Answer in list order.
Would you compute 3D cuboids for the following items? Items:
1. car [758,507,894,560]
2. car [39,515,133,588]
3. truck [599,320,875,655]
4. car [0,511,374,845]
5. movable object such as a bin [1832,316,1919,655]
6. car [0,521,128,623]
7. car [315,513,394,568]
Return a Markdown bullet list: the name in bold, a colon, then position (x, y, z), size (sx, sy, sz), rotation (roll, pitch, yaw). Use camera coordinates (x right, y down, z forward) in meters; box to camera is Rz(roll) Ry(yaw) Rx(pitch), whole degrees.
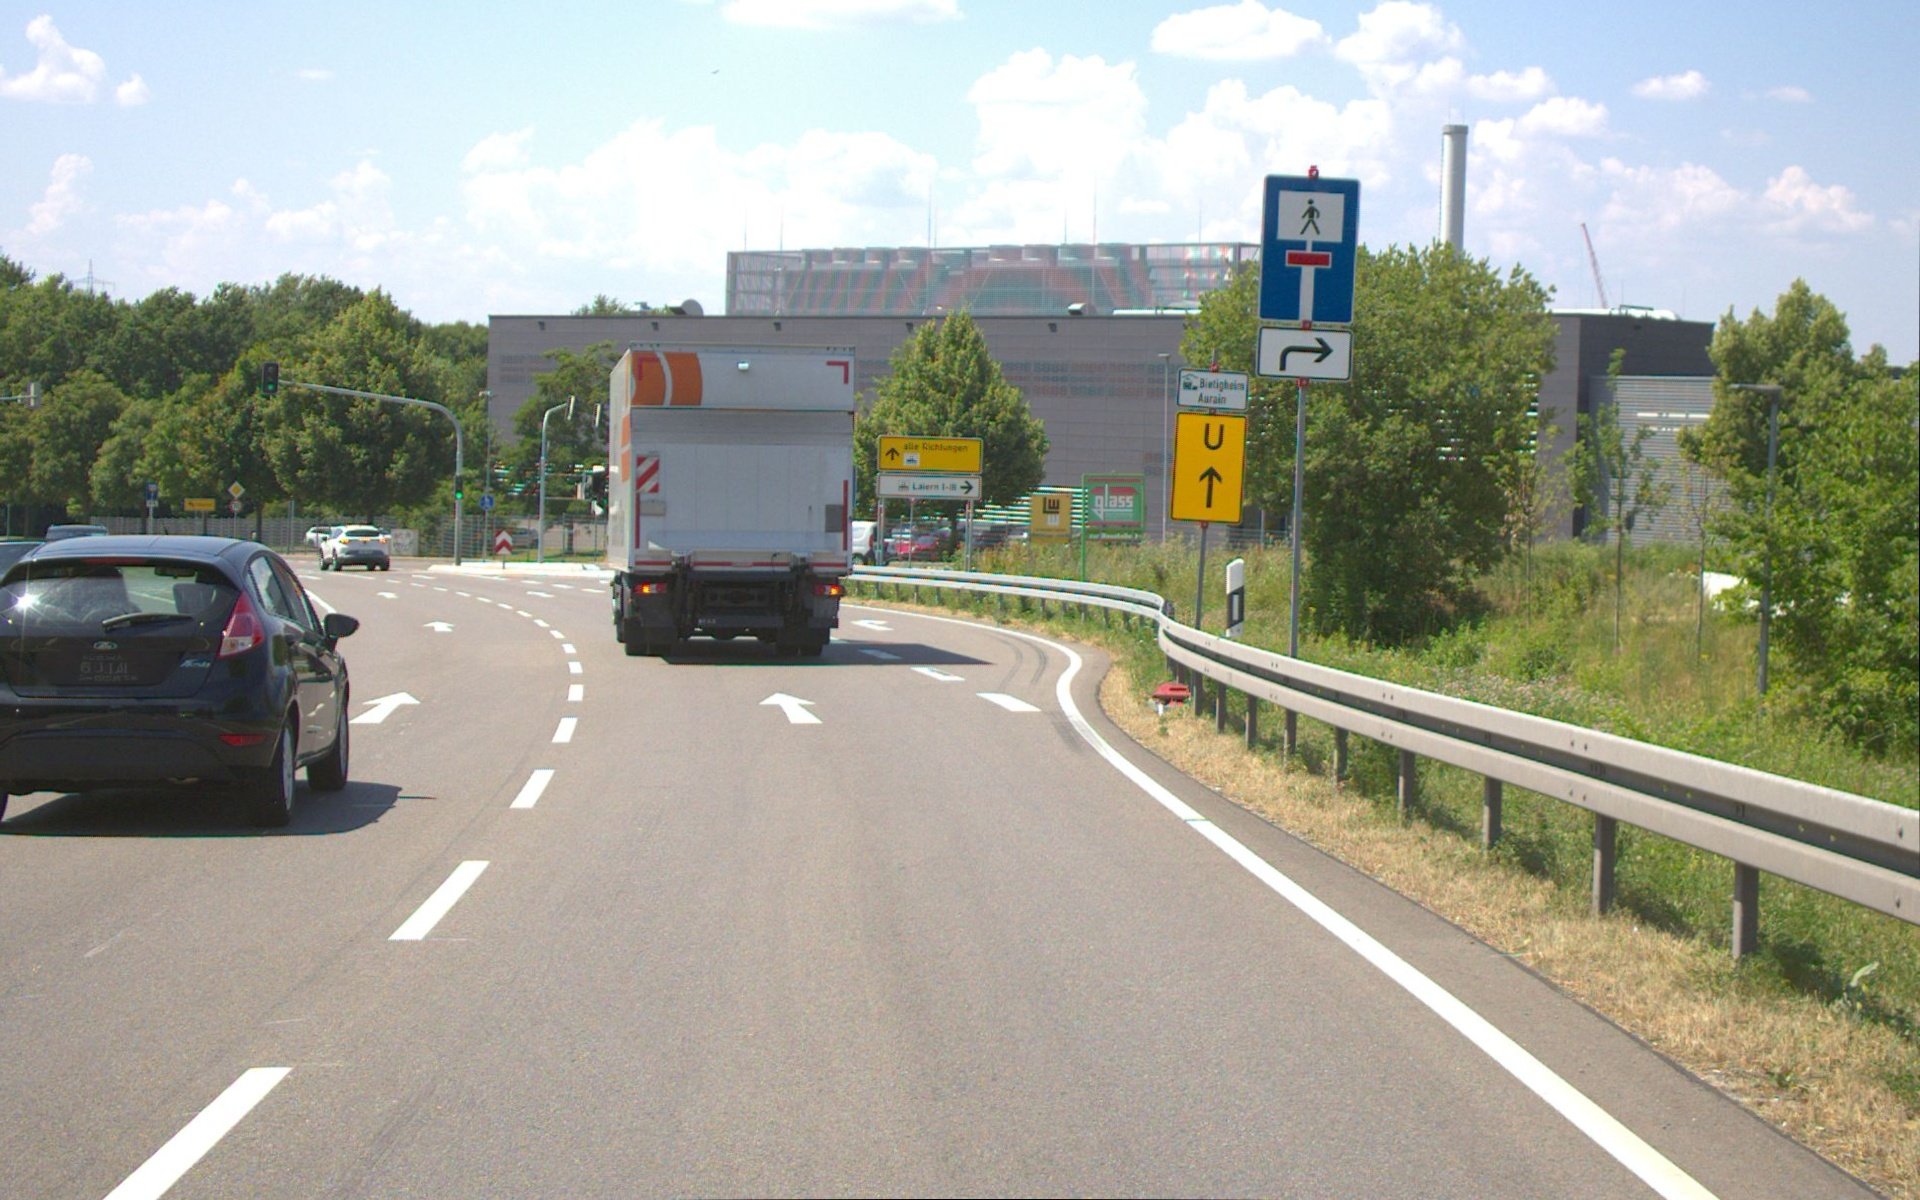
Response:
- **car**: position (-4.993, -2.497, 128.438), size (4.747, 1.925, 2.153), rotation (1, 1, 10)
- **car**: position (-19.790, -1.119, 77.773), size (1.993, 1.587, 4.684), rotation (0, 1, -15)
- **truck**: position (-2.958, -1.414, 42.871), size (2.803, 3.698, 9.111), rotation (1, 2, -7)
- **car**: position (-4.257, 0.322, 18.602), size (1.653, 1.488, 4.209), rotation (1, 3, -3)
- **movable object such as a bin**: position (16.820, -1.629, 52.095), size (3.423, 5.242, 9.232), rotation (2, 4, -8)
- **car**: position (-13.592, -0.445, 51.017), size (1.816, 1.437, 4.645), rotation (0, 1, -6)
- **car**: position (-20.229, -1.991, 114.750), size (1.943, 1.658, 4.002), rotation (3, 1, -19)
